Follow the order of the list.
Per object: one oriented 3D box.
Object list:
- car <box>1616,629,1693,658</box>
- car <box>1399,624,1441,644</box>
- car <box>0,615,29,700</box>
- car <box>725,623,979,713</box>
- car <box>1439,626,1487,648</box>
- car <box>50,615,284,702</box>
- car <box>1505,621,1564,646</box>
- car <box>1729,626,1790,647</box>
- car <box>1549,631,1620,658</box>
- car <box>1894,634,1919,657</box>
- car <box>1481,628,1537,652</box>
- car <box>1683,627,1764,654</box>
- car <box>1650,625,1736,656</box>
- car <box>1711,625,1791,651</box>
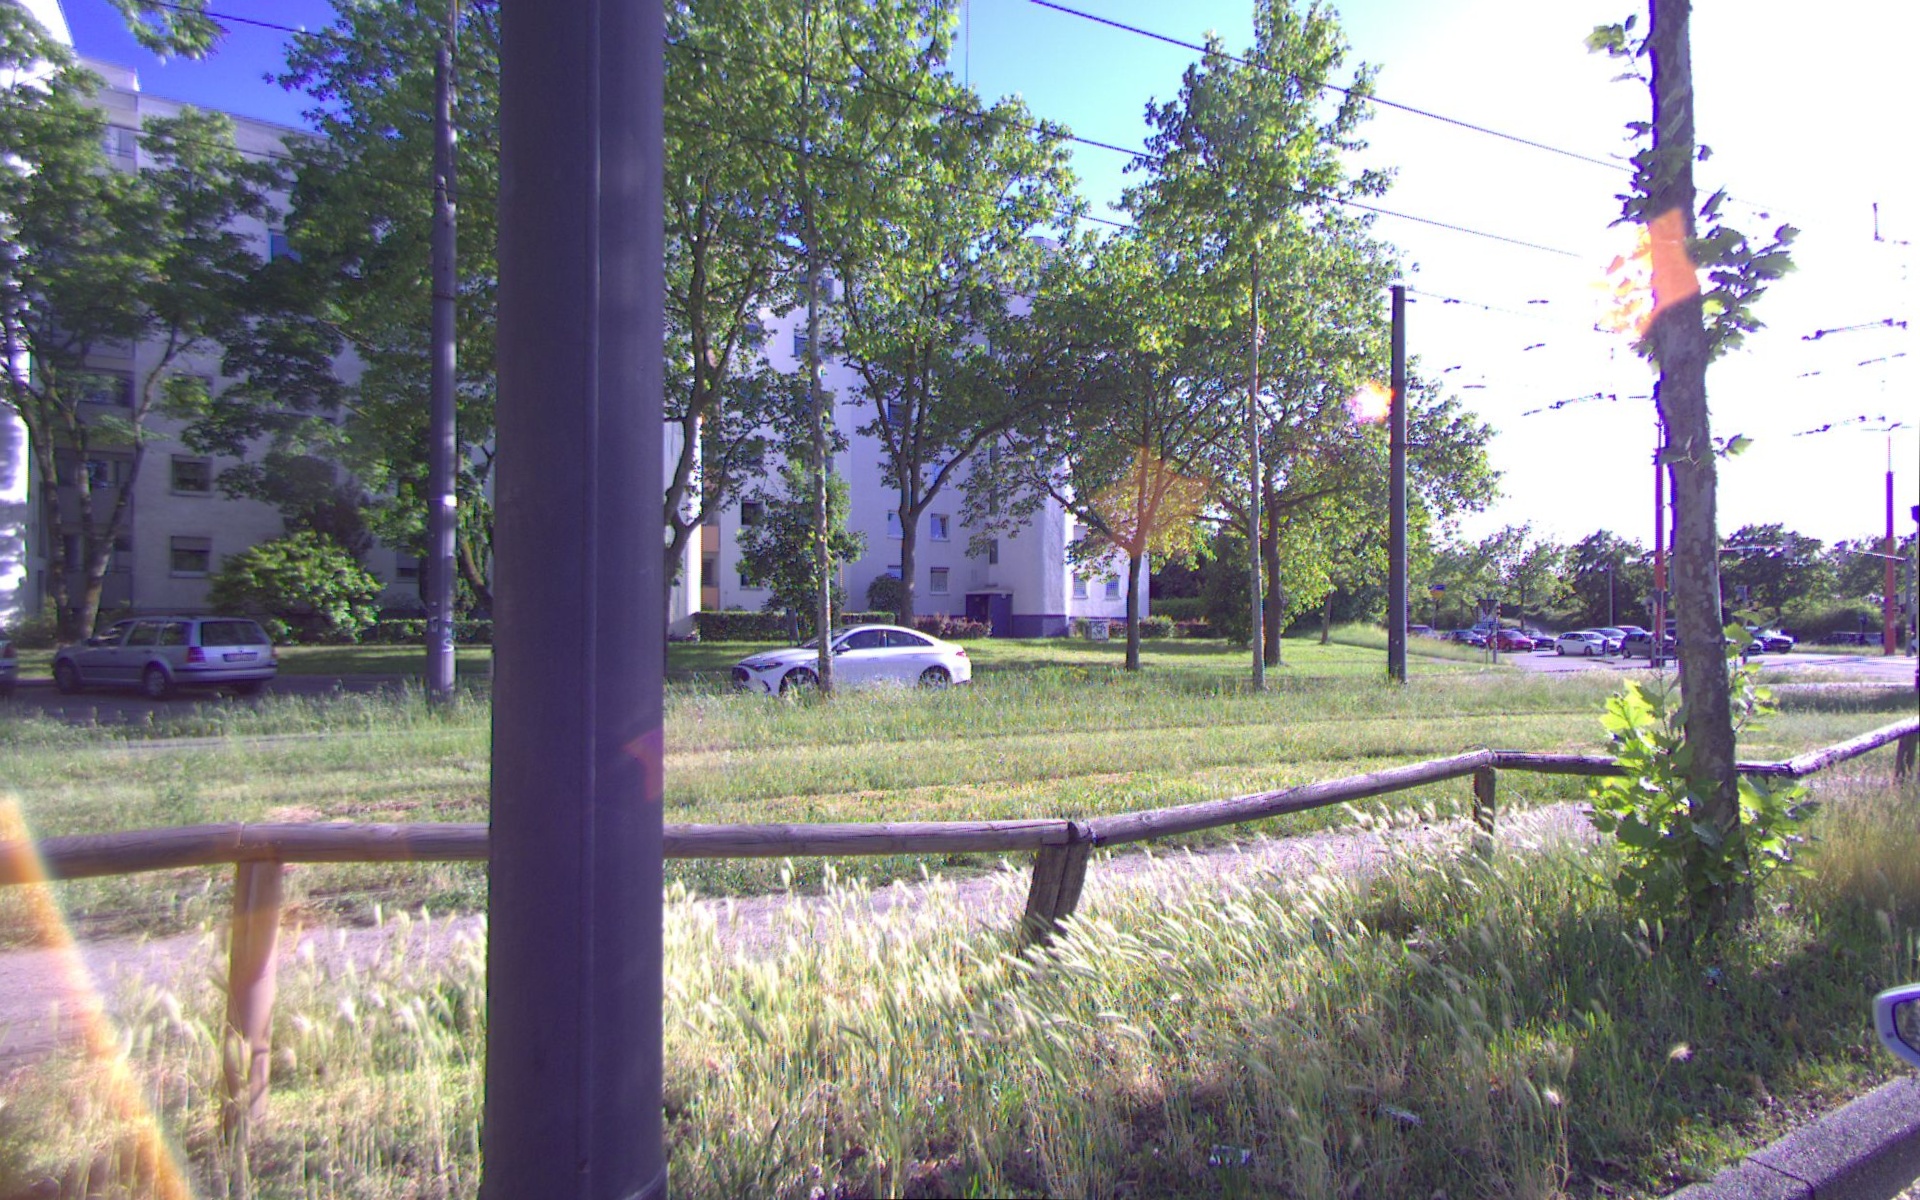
[{"bbox_3d":[38.961,2.405,56.449,1.624,1.460,3.841,1,-1,-2],"label":"car"},{"bbox_3d":[38.639,2.810,84.394,1.624,1.540,4.200,1,-1,1],"label":"car"},{"bbox_3d":[-17.988,0.945,17.155,3.567,1.421,1.581,1,0,20],"label":"car"},{"bbox_3d":[-2.009,1.235,19.240,4.588,1.530,1.643,1,-1,-30],"label":"car"},{"bbox_3d":[38.656,2.811,77.255,1.624,1.540,4.200,1,-1,1],"label":"car"},{"bbox_3d":[-14.538,1.008,18.429,3.830,1.421,1.581,1,0,20],"label":"car"},{"bbox_3d":[42.265,2.427,74.071,1.721,1.669,4.644,1,-1,1],"label":"car"},{"bbox_3d":[59.899,2.722,75.337,1.624,1.421,3.805,1,-1,1],"label":"car"},{"bbox_3d":[38.914,2.752,62.737,1.624,1.540,4.638,1,-1,1],"label":"car"},{"bbox_3d":[63.588,3.005,65.576,1.625,1.421,3.802,1,-1,-3],"label":"car"},{"bbox_3d":[38.444,2.773,70.452,1.624,1.540,4.200,1,-1,1],"label":"car"},{"bbox_3d":[45.571,2.390,60.064,1.513,1.434,4.154,1,-1,-3],"label":"car"},{"bbox_3d":[42.323,2.306,58.106,1.624,1.669,4.644,1,-1,1],"label":"car"},{"bbox_3d":[48.649,2.320,61.897,1.513,1.434,4.154,1,-1,-3],"label":"car"}]
